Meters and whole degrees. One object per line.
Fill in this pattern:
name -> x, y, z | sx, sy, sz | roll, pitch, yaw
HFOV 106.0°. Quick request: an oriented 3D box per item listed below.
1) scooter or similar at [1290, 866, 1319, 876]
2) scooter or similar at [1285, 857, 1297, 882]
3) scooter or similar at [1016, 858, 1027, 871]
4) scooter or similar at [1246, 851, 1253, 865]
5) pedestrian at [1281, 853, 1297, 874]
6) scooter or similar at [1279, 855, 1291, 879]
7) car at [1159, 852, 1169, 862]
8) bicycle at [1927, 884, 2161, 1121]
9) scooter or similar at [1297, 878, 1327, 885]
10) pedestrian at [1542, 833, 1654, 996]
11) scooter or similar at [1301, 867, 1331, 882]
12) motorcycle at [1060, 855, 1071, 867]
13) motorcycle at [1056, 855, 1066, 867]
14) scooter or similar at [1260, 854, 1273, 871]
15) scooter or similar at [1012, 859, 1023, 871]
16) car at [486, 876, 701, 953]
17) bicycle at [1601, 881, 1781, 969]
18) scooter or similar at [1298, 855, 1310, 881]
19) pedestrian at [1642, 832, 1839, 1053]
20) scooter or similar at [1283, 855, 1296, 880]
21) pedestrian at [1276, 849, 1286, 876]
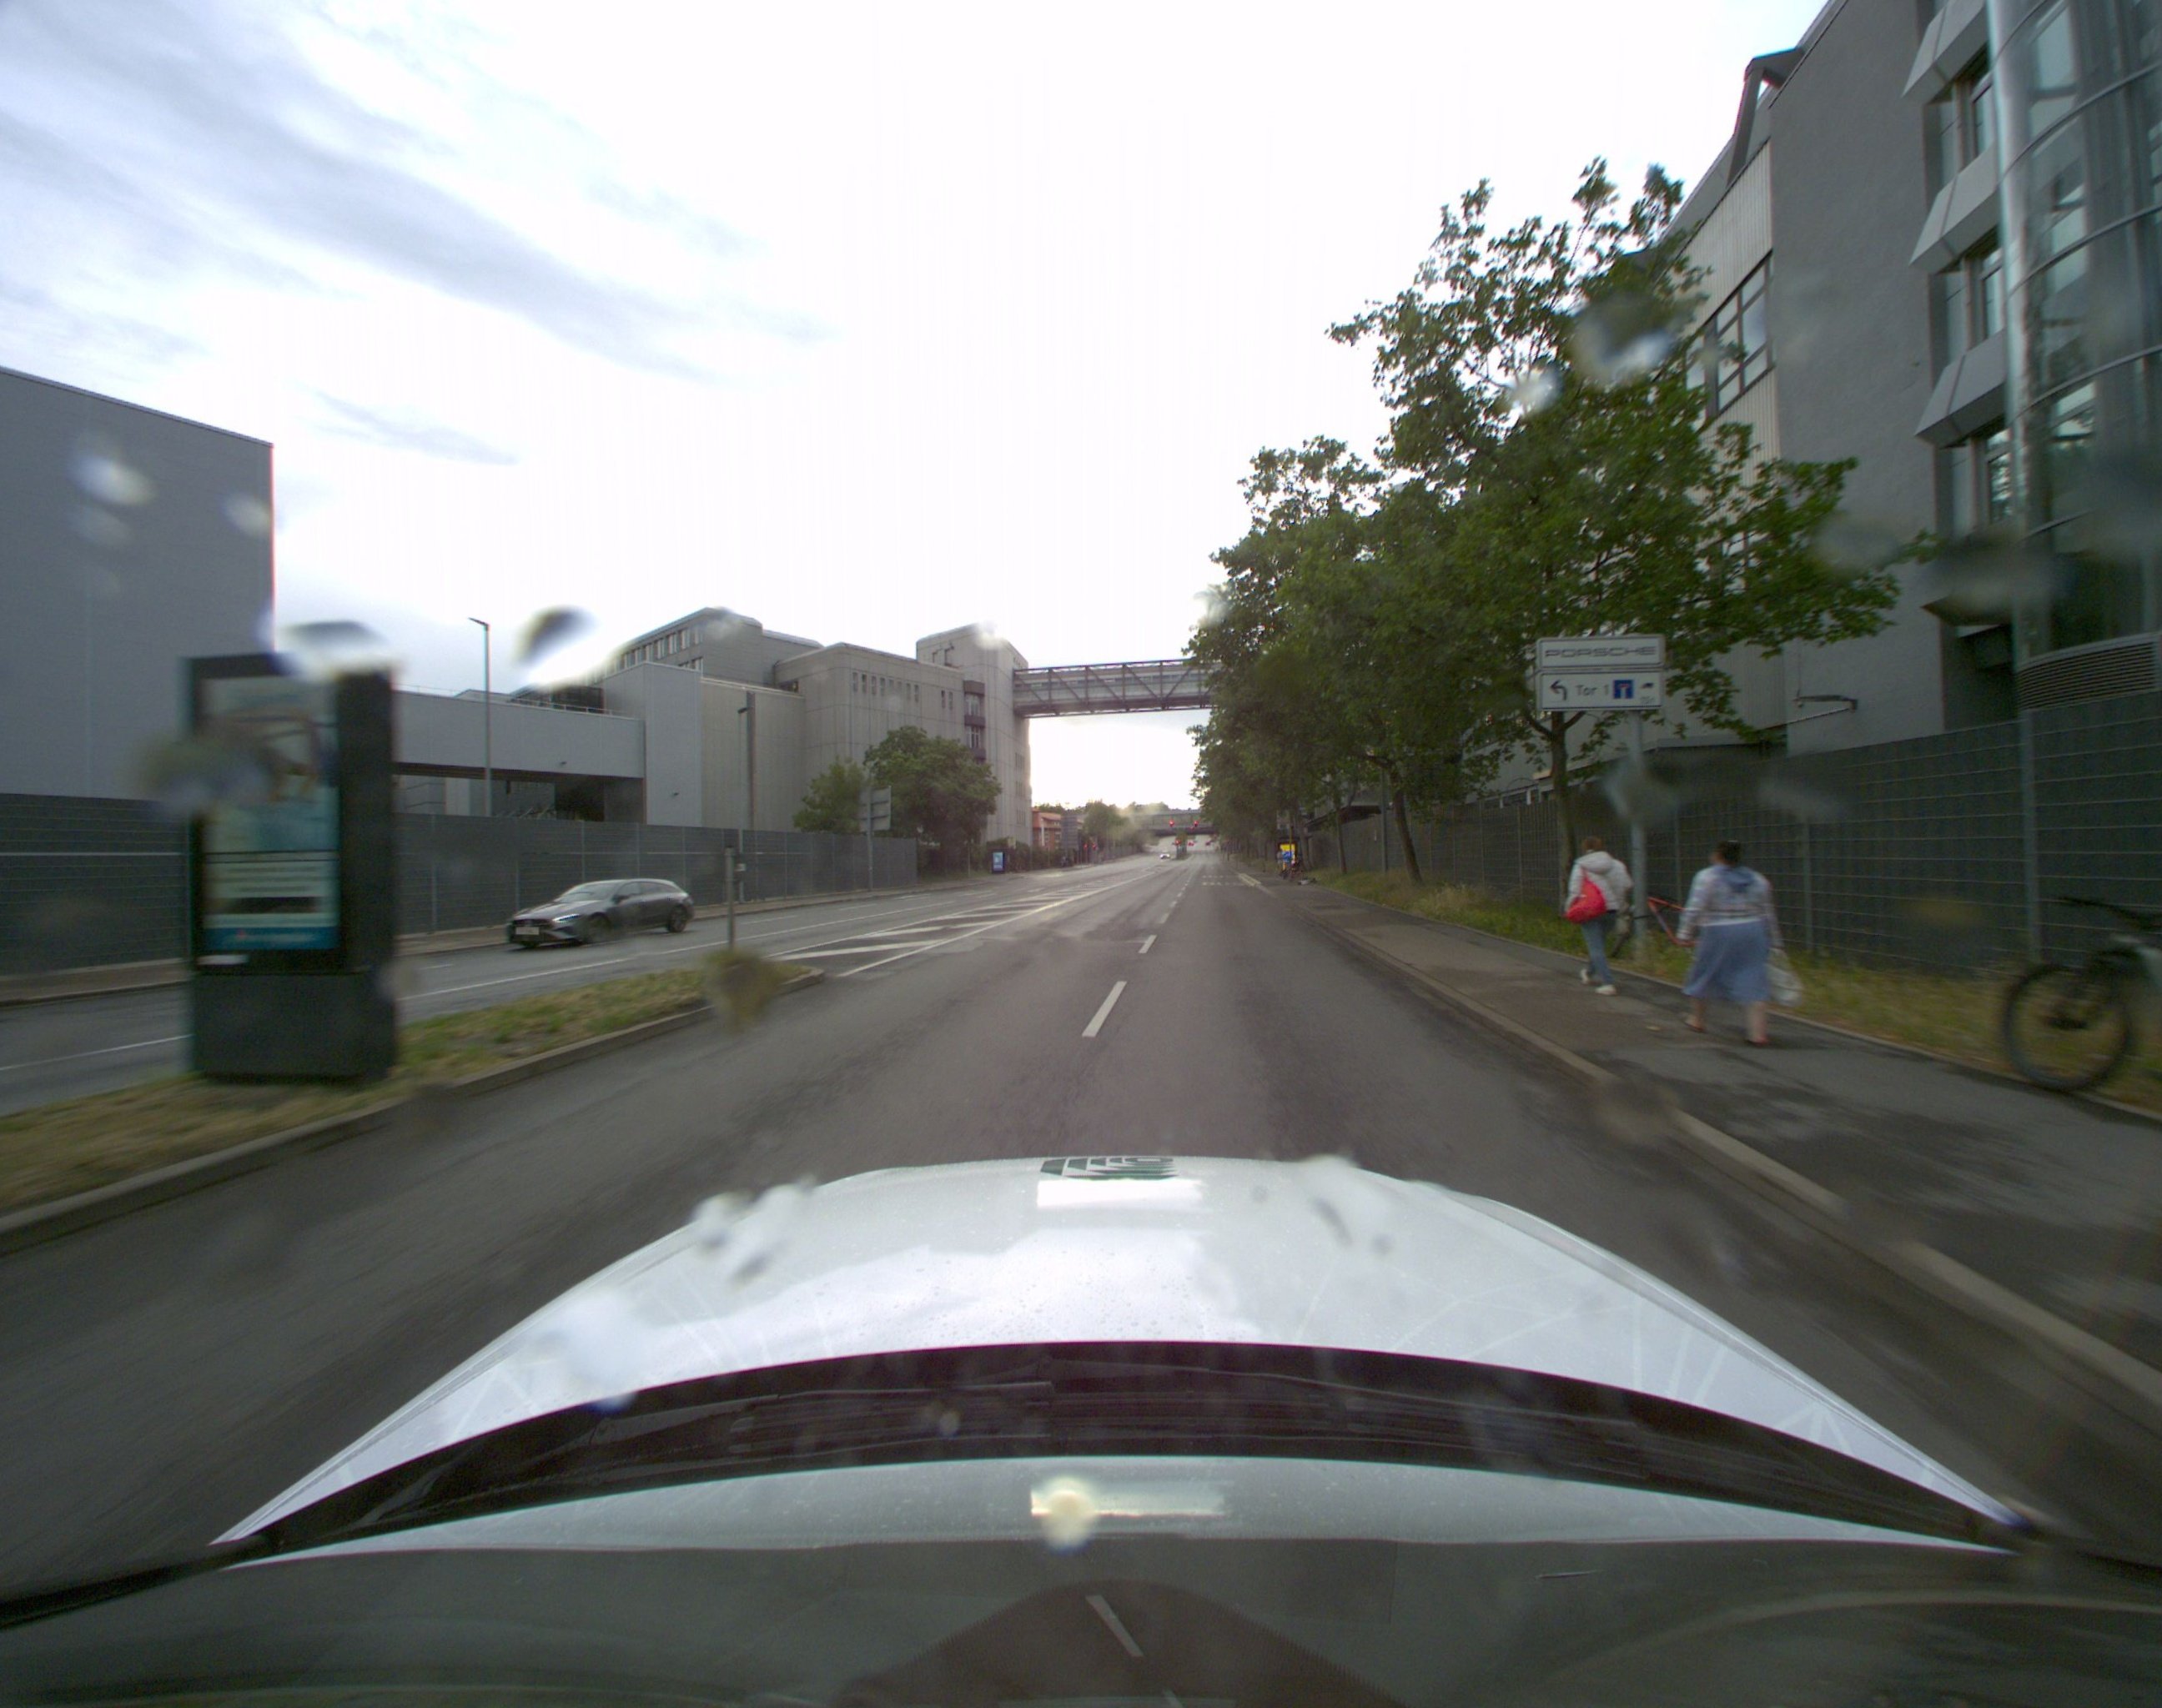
scooter or similar -> 12.983, 0.997, 47.322 | 1.547, 0.519, 0.647 | -2, 0, 25
scooter or similar -> 10.797, 0.785, 41.837 | 0.431, 1.270, 1.197 | -2, 0, 9
scooter or similar -> -6.140, 1.101, 84.511 | 0.494, 1.252, 1.928 | -2, 0, 14
scooter or similar -> 17.386, 0.420, 83.922 | 0.604, 1.366, 1.928 | -2, 0, 14
pedestrian -> 13.705, 0.610, 53.632 | 0.944, 1.317, 0.688 | -2, 0, 15
scooter or similar -> 11.578, 0.743, 46.299 | 0.500, 1.293, 1.437 | -2, 0, 9
car -> 16.740, 0.590, 163.930 | 1.984, 1.772, 4.006 | -2, 0, 5
bicycle -> 5.466, 0.748, 4.137 | 0.340, 1.118, 1.975 | -2, 0, 3
scooter or similar -> 10.531, 1.249, 37.154 | 0.653, 0.246, 1.518 | -2, 0, -13
pedestrian -> 5.313, 0.601, 8.427 | 0.704, 1.592, 0.843 | -2, 0, 13
scooter or similar -> 11.850, 1.015, 41.109 | 0.655, 0.713, 1.513 | -2, 0, -22
motorcycle -> -2.125, 0.922, 111.809 | 0.954, 1.556, 3.306 | -2, 0, 7
motorcycle -> -2.630, 0.972, 108.014 | 0.909, 1.532, 3.306 | -2, 0, 7
scooter or similar -> 14.055, 0.647, 61.668 | 0.693, 1.244, 1.931 | -2, 0, 20
scooter or similar -> -6.451, 1.116, 82.541 | 0.521, 1.252, 1.806 | -2, 0, 14
car -> -11.211, 1.319, 19.210 | 1.772, 1.385, 4.557 | -4, 0, 9
bicycle -> 7.449, 0.826, 10.029 | 0.515, 0.953, 1.685 | -1, 0, -31
scooter or similar -> 10.571, 0.647, 38.663 | 0.386, 1.226, 1.076 | -2, 0, 9
pedestrian -> 4.894, 0.620, 6.119 | 0.825, 1.520, 0.845 | -2, 0, 13
scooter or similar -> 11.285, 0.713, 44.110 | 0.472, 1.293, 1.437 | -2, 0, 9
pedestrian -> 12.241, 0.512, 49.849 | 0.478, 1.667, 0.663 | -2, 0, 6
